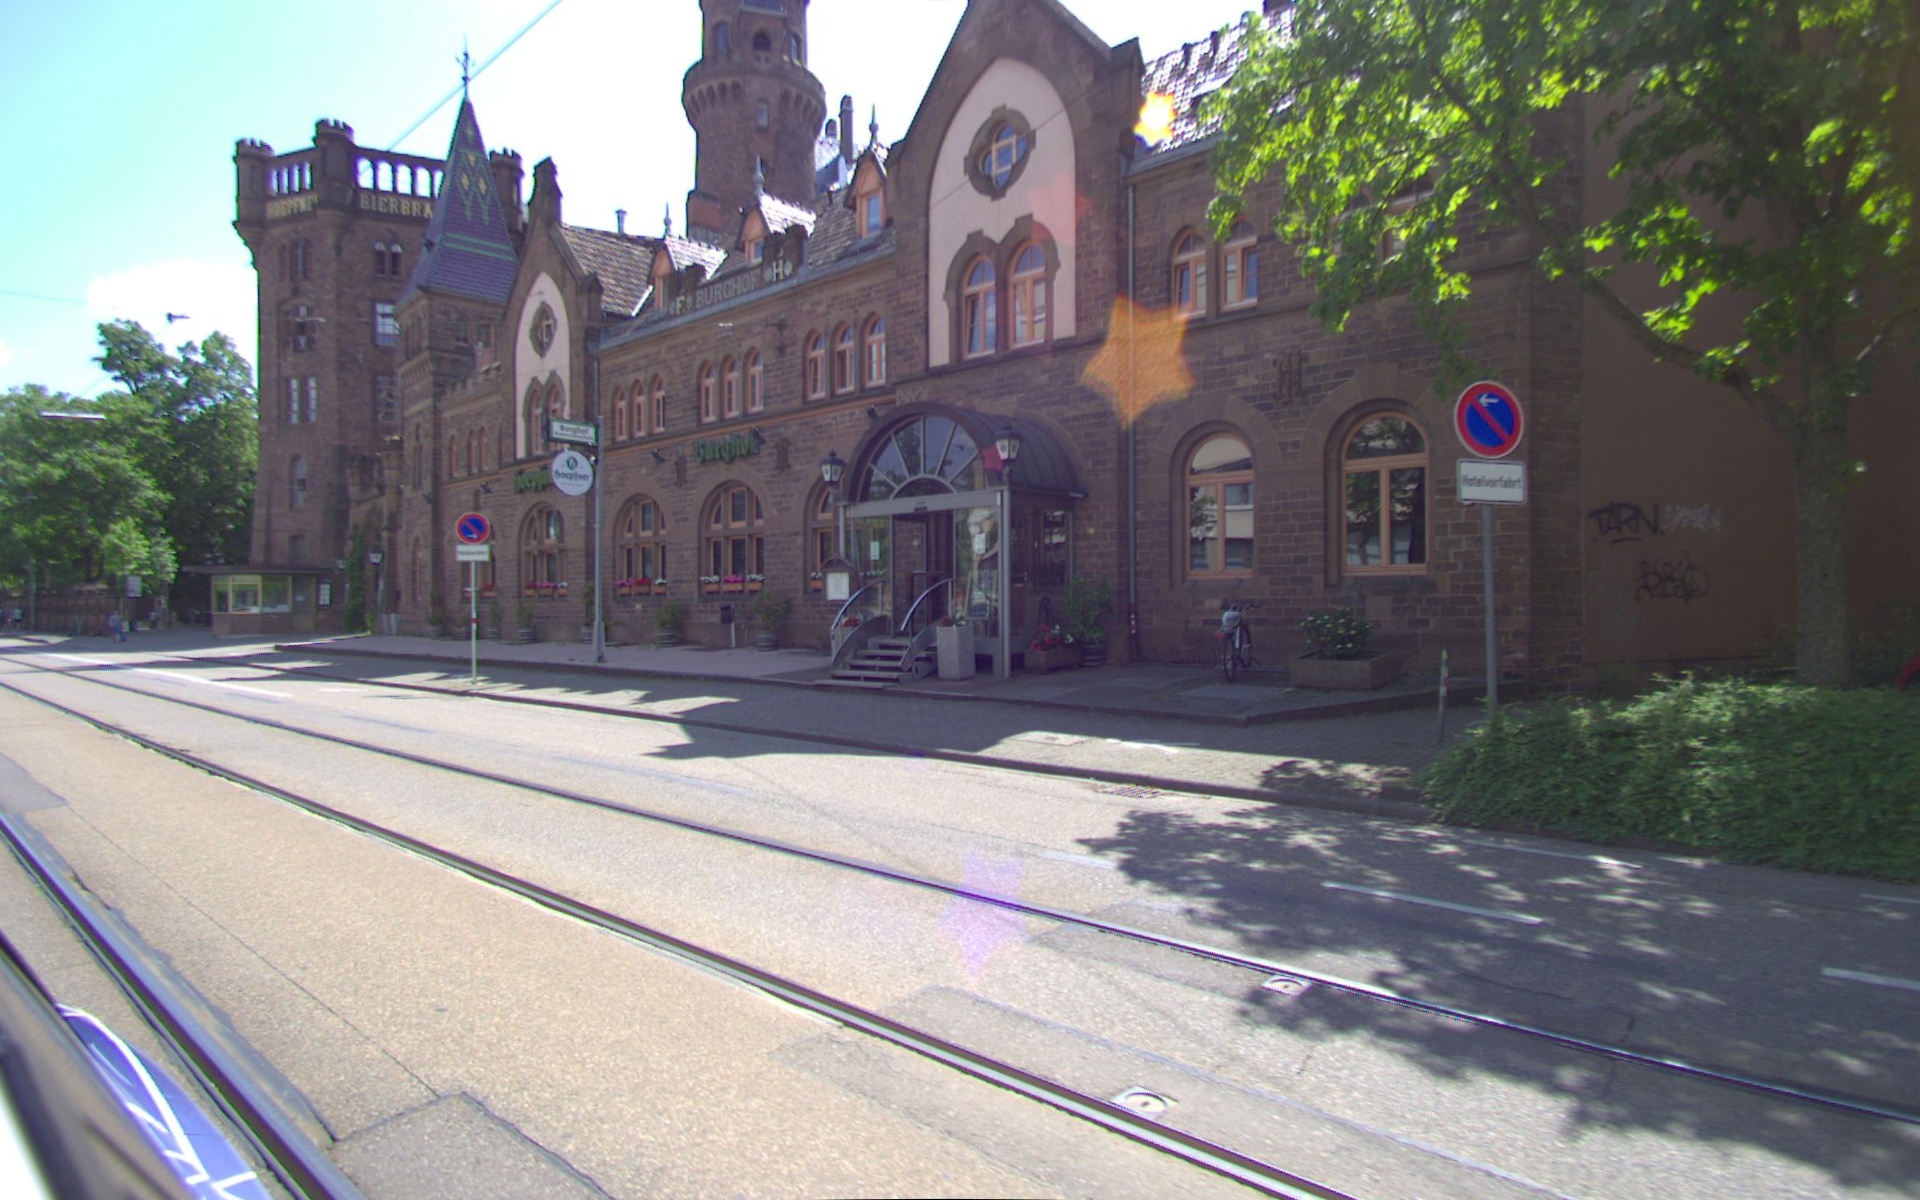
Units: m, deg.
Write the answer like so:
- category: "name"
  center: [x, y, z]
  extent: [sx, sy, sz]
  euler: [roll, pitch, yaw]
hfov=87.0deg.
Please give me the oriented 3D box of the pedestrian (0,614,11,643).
- category: "pedestrian"
  center: [-62.319, 1.868, 65.808]
  extent: [0.919, 1.805, 0.714]
  euler: [-1, 2, 41]

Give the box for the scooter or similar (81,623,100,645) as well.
- category: "scooter or similar"
  center: [-45.965, 1.786, 53.517]
  extent: [0.324, 1.135, 1.227]
  euler: [-2, 0, -21]

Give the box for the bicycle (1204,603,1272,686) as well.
- category: "bicycle"
  center: [3.872, 0.583, 14.001]
  extent: [0.594, 0.897, 1.986]
  euler: [-2, 4, 24]

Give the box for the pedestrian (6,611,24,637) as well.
- category: "pedestrian"
  center: [-66.471, 1.692, 71.186]
  extent: [0.919, 1.789, 0.745]
  euler: [-1, 2, 41]

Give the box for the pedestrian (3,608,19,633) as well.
- category: "pedestrian"
  center: [-68.347, 1.477, 72.849]
  extent: [0.919, 1.789, 0.670]
  euler: [-1, 2, 41]

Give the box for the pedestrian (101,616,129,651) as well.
- category: "pedestrian"
  center: [-39.871, 1.584, 47.751]
  extent: [0.919, 1.600, 0.791]
  euler: [-1, 2, 41]

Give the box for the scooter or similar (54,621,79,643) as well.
- category: "scooter or similar"
  center: [-48.905, 1.756, 55.392]
  extent: [0.343, 1.135, 1.227]
  euler: [-2, 2, -6]

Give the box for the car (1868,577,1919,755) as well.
- category: "car"
  center: [9.102, 0.576, 7.060]
  extent: [1.981, 1.578, 4.761]
  euler: [-1, 0, 12]
